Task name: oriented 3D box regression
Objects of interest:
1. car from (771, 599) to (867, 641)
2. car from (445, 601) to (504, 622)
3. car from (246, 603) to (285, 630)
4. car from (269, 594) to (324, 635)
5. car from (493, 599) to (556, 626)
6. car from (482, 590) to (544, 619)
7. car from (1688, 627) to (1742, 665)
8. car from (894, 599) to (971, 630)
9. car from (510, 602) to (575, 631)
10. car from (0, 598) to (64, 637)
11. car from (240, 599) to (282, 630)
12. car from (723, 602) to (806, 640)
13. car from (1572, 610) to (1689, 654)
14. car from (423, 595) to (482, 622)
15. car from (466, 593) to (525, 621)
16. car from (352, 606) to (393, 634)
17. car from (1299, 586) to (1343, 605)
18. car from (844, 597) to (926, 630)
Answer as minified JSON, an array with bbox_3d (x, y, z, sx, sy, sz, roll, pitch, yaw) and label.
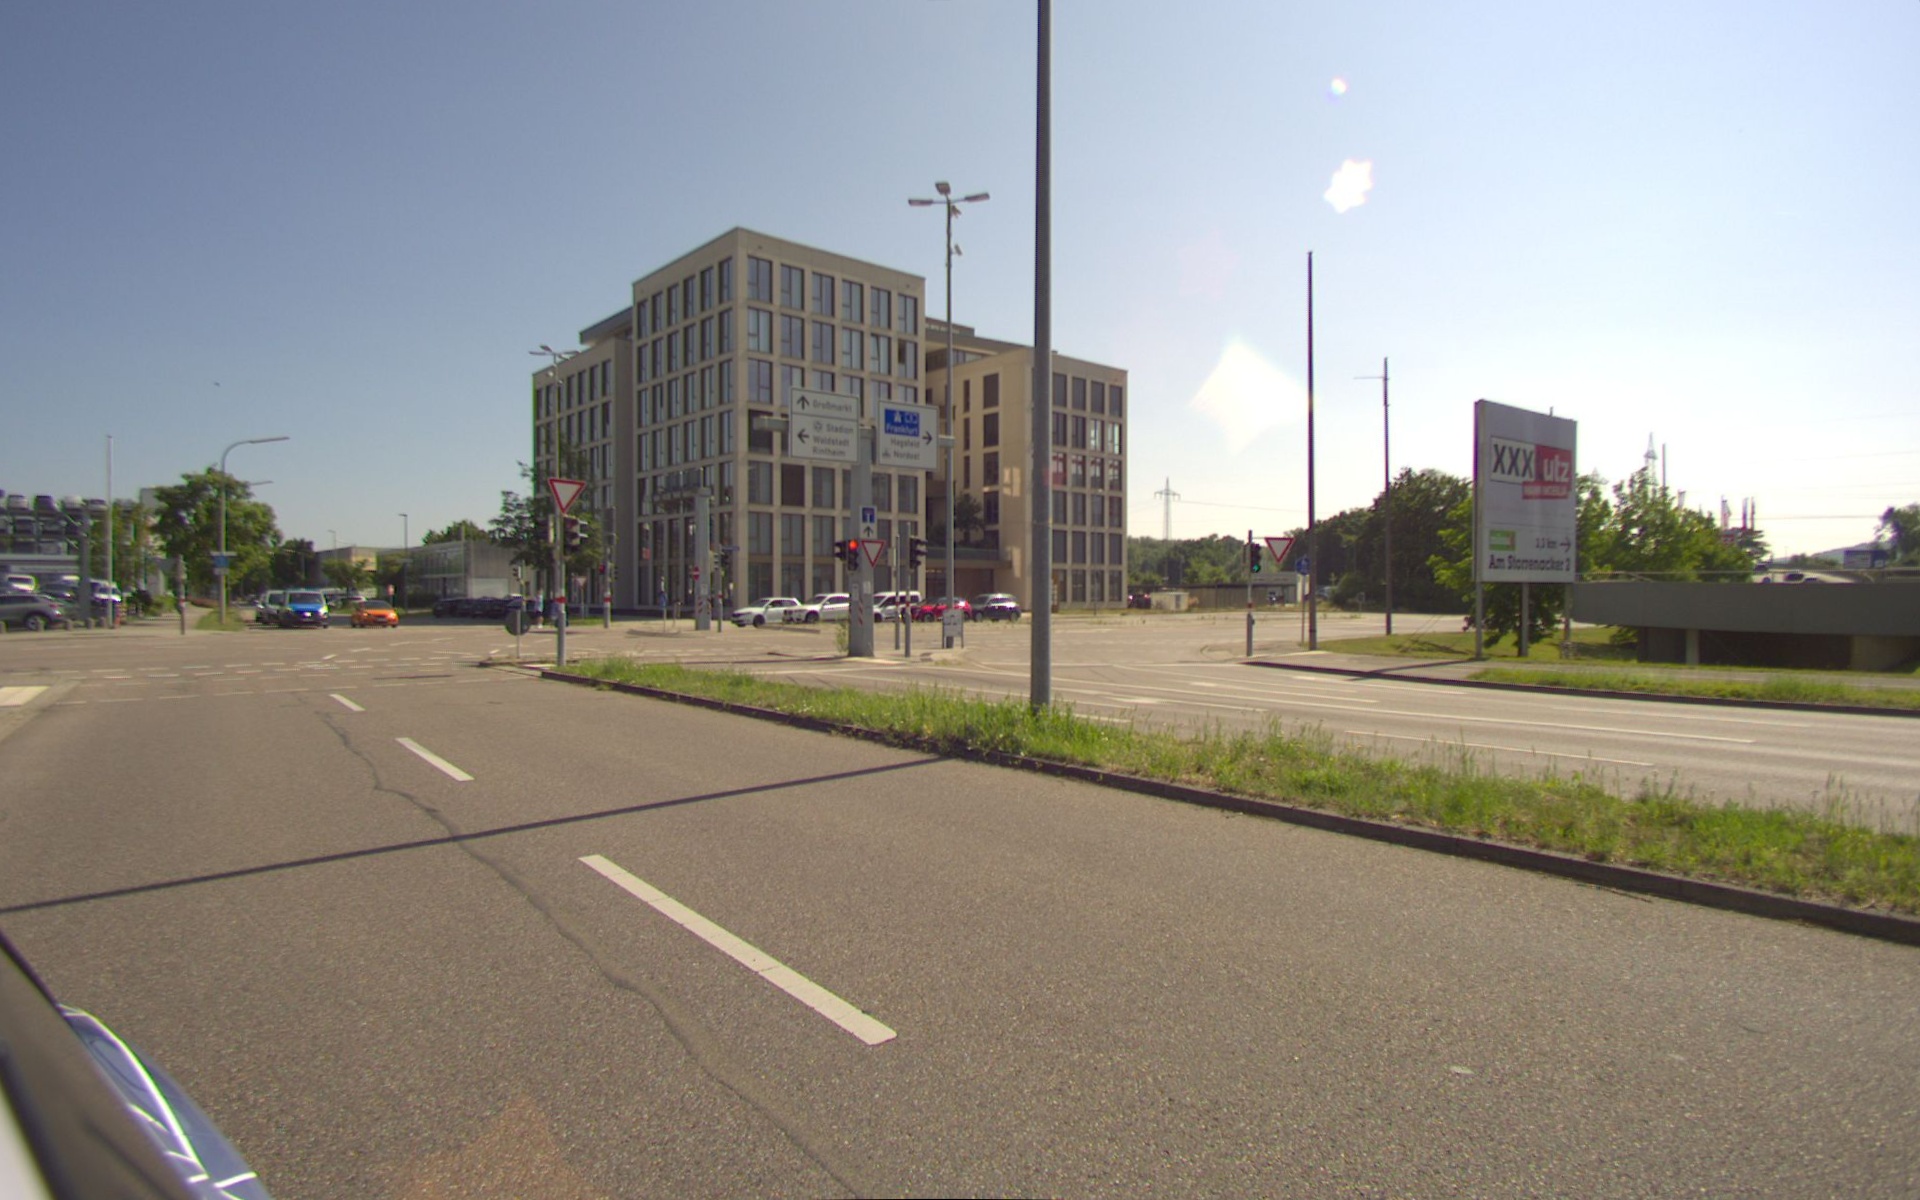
[{"bbox_3d":[-6.778,0.905,48.933,4.248,1.851,2.028,-1,1,-45],"label":"car"},{"bbox_3d":[-37.613,0.862,78.483,3.931,1.626,2.006,0,0,-20],"label":"car"},{"bbox_3d":[-42.031,0.955,61.276,1.883,1.504,3.876,-1,1,-34],"label":"car"},{"bbox_3d":[-32.880,0.679,50.280,2.150,1.923,4.744,0,0,-32],"label":"car"},{"bbox_3d":[-30.232,0.840,70.426,3.931,1.841,2.006,0,0,-20],"label":"car"},{"bbox_3d":[-32.208,0.339,73.058,3.931,2.029,2.006,0,0,-20],"label":"car"},{"bbox_3d":[21.783,1.323,29.172,1.914,0.983,0.890,-1,-2,-43],"label":"car"},{"bbox_3d":[-1.429,0.739,53.556,4.057,1.539,1.532,-1,0,-43],"label":"car"},{"bbox_3d":[-28.076,1.063,68.047,3.931,1.751,2.007,-2,1,-26],"label":"car"},{"bbox_3d":[-40.792,0.731,42.654,4.411,1.599,1.983,0,0,-40],"label":"car"},{"bbox_3d":[-37.936,0.770,54.914,1.641,1.568,3.863,-1,1,-38],"label":"car"},{"bbox_3d":[-9.734,1.026,50.507,1.835,1.725,3.712,1,1,44],"label":"car"},{"bbox_3d":[30.275,1.406,45.787,1.968,1.747,4.008,-1,1,-39],"label":"car"},{"bbox_3d":[-40.113,0.658,80.089,3.931,2.029,2.006,0,0,-20],"label":"car"},{"bbox_3d":[-34.652,0.501,75.594,3.931,2.029,2.006,0,0,-21],"label":"car"},{"bbox_3d":[-30.227,1.006,52.014,1.710,1.374,3.877,0,0,-32],"label":"car"},{"bbox_3d":[45.521,-0.570,127.672,5.020,2.352,1.983,0,1,25],"label":"car"},{"bbox_3d":[-4.085,0.720,55.489,4.167,1.724,1.906,-1,0,-43],"label":"car"}]
